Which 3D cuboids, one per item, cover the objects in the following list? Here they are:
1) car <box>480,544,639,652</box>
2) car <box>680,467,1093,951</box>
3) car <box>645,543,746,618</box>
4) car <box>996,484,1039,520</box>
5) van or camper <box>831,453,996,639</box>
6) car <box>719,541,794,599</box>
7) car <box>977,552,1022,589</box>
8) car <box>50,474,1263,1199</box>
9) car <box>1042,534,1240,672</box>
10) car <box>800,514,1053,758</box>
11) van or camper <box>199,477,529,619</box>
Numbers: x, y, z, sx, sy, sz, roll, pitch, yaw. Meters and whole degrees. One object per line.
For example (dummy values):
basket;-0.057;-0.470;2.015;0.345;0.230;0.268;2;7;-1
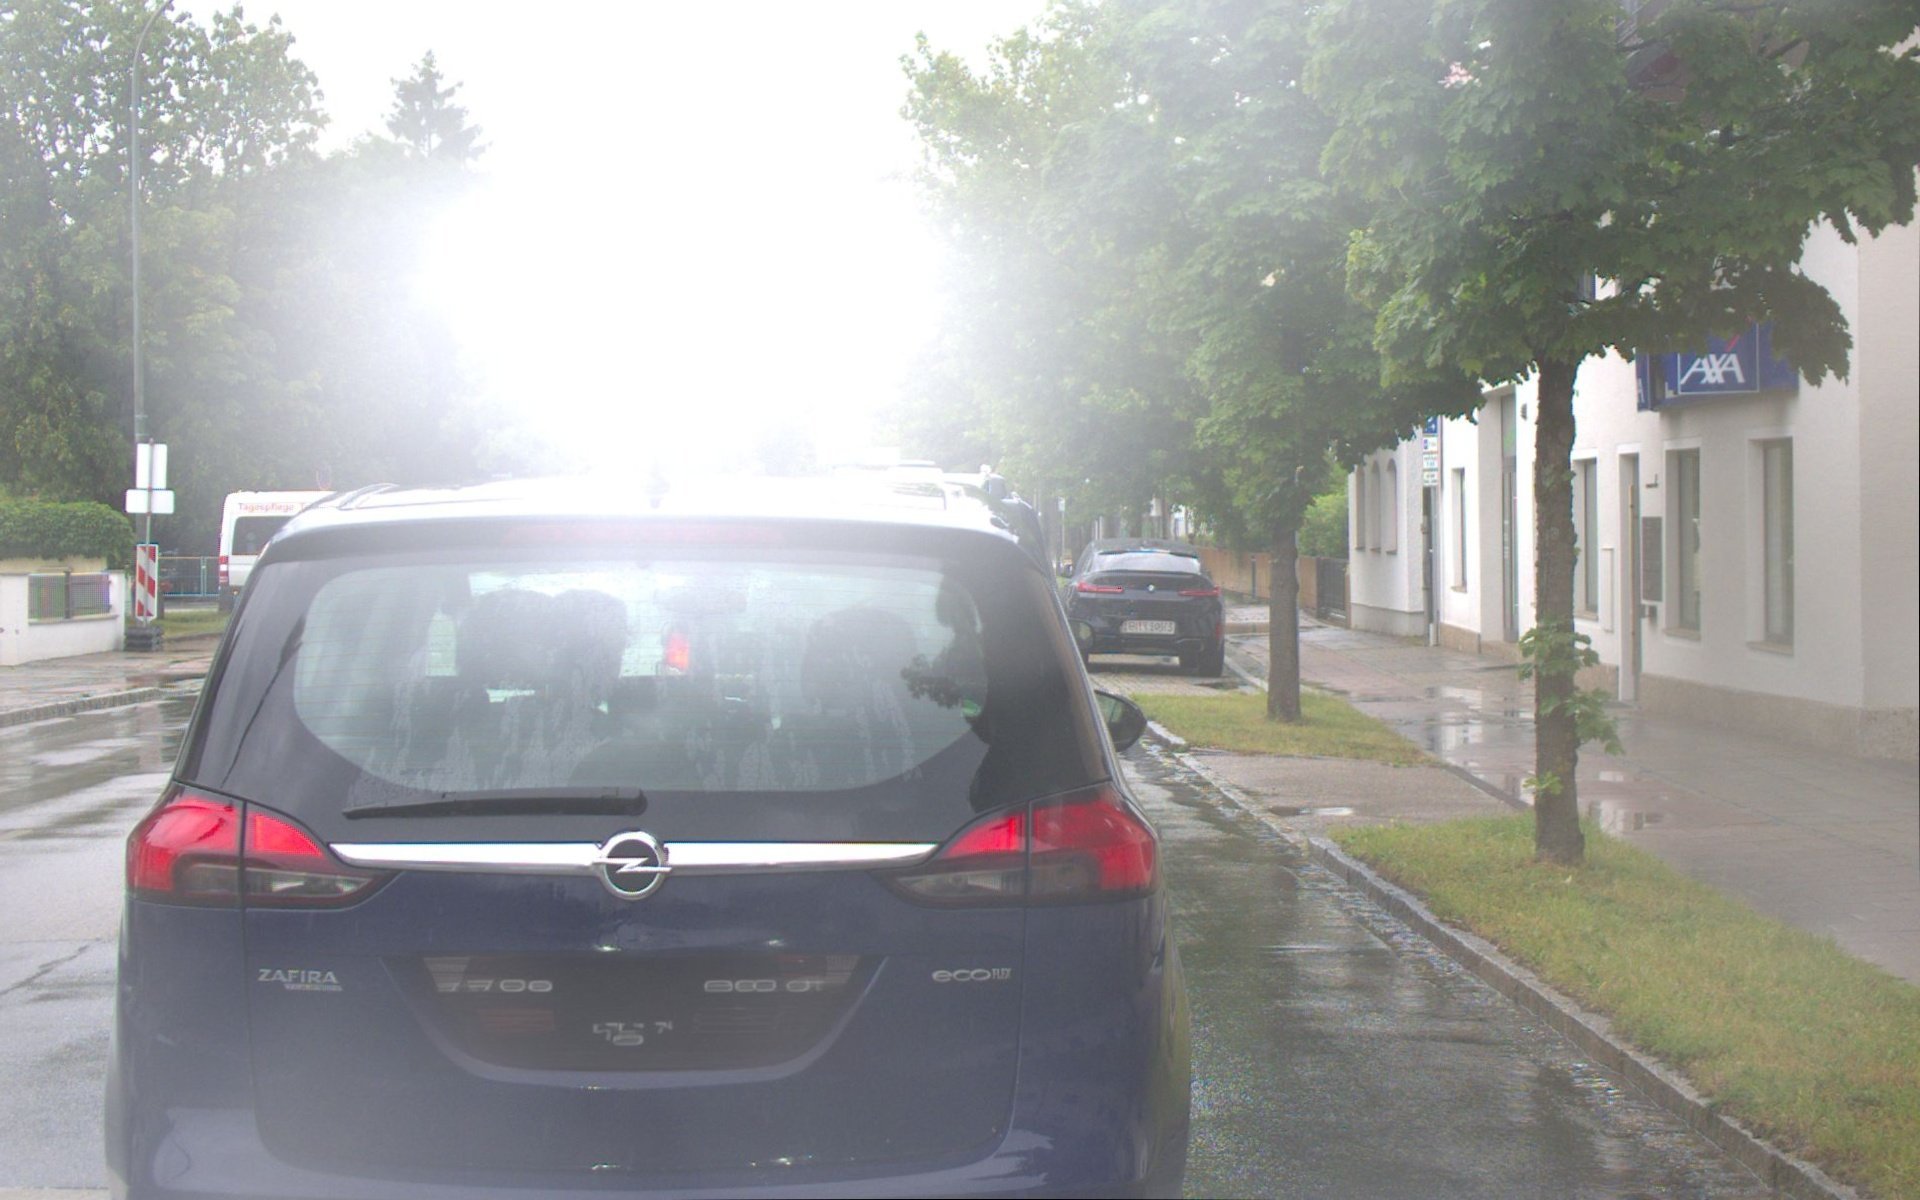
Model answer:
car;-6.115;-0.058;52.940;1.967;1.557;4.152;-1;1;-1
car;-0.289;0.378;14.298;1.500;1.770;3.112;1;1;-1
car;-5.731;-0.455;74.894;1.926;1.561;4.126;-1;1;-1
car;2.344;-3.994;140.664;1.630;1.373;3.623;-1;1;-1
van or camper;-0.701;-0.829;52.296;2.360;2.656;5.372;-1;1;-1
car;-5.624;-0.840;95.312;1.752;1.506;4.230;-2;1;0
car;1.495;-1.131;131.253;1.630;1.373;3.623;1;0;-1
car;-0.472;0.599;6.901;1.768;1.599;3.663;1;1;-1
car;2.178;0.014;42.467;2.117;1.576;3.936;1;1;-1
car;-0.251;0.218;25.918;1.756;1.700;3.619;-1;1;-1
van or camper;-11.681;-1.035;67.758;6.246;2.698;2.101;-1;1;-6
